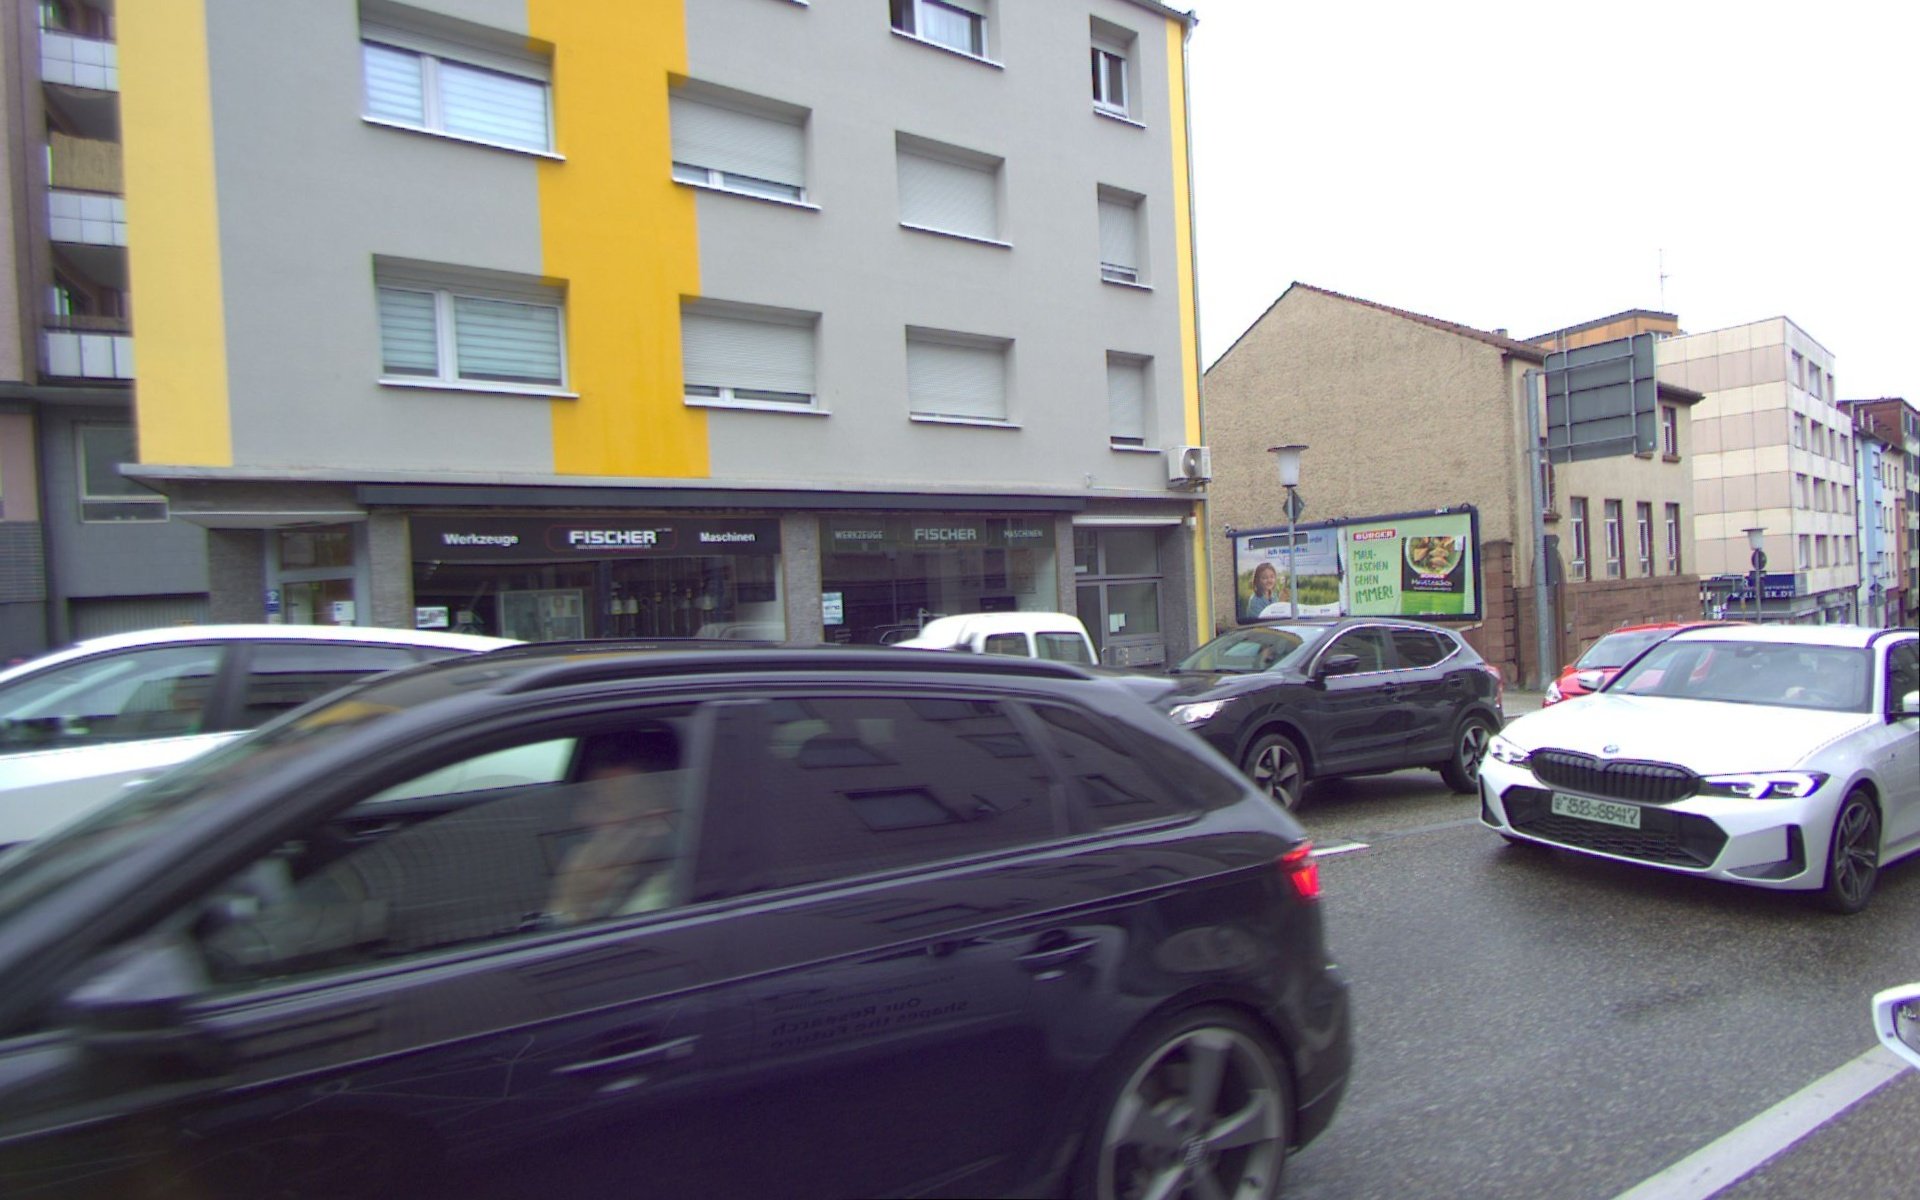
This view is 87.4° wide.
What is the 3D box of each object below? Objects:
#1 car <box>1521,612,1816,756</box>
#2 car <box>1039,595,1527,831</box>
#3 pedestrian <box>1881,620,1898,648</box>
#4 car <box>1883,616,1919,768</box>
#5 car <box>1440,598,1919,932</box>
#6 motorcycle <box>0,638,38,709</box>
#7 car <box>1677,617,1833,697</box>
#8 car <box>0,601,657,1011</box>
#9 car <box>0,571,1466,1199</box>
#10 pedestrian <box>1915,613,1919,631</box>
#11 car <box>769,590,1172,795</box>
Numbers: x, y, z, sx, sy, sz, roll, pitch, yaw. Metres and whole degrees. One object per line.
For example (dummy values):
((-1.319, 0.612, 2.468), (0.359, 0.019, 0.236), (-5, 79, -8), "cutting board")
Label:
((8.979, 0.992, 12.638), (4.089, 1.535, 1.729), (2, -4, -35), "car")
((2.962, 0.894, 8.963), (4.295, 1.652, 1.797), (2, -4, -32), "car")
((57.192, 2.065, 61.806), (0.601, 1.675, 0.732), (-5, 3, -44), "pedestrian")
((11.607, 0.980, 10.638), (4.245, 1.500, 1.688), (2, 0, -33), "car")
((5.314, 0.834, 6.654), (4.513, 1.541, 1.796), (2, -2, -33), "car")
((-15.999, 1.228, 16.219), (1.508, 1.105, 0.480), (-4, 2, -32), "motorcycle")
((17.705, 1.249, 22.321), (3.889, 1.631, 1.645), (2, -4, -35), "car")
((-3.848, 0.826, 4.851), (4.322, 1.563, 1.800), (-1, -1, -27), "car")
((-1.057, 0.716, 2.231), (4.325, 1.433, 1.799), (2, -2, -29), "car")
((78.003, 1.787, 81.765), (0.335, 1.494, 0.316), (-4, 3, -36), "pedestrian")
((0.144, 0.941, 10.827), (4.011, 1.853, 1.721), (1, -5, -29), "car")
